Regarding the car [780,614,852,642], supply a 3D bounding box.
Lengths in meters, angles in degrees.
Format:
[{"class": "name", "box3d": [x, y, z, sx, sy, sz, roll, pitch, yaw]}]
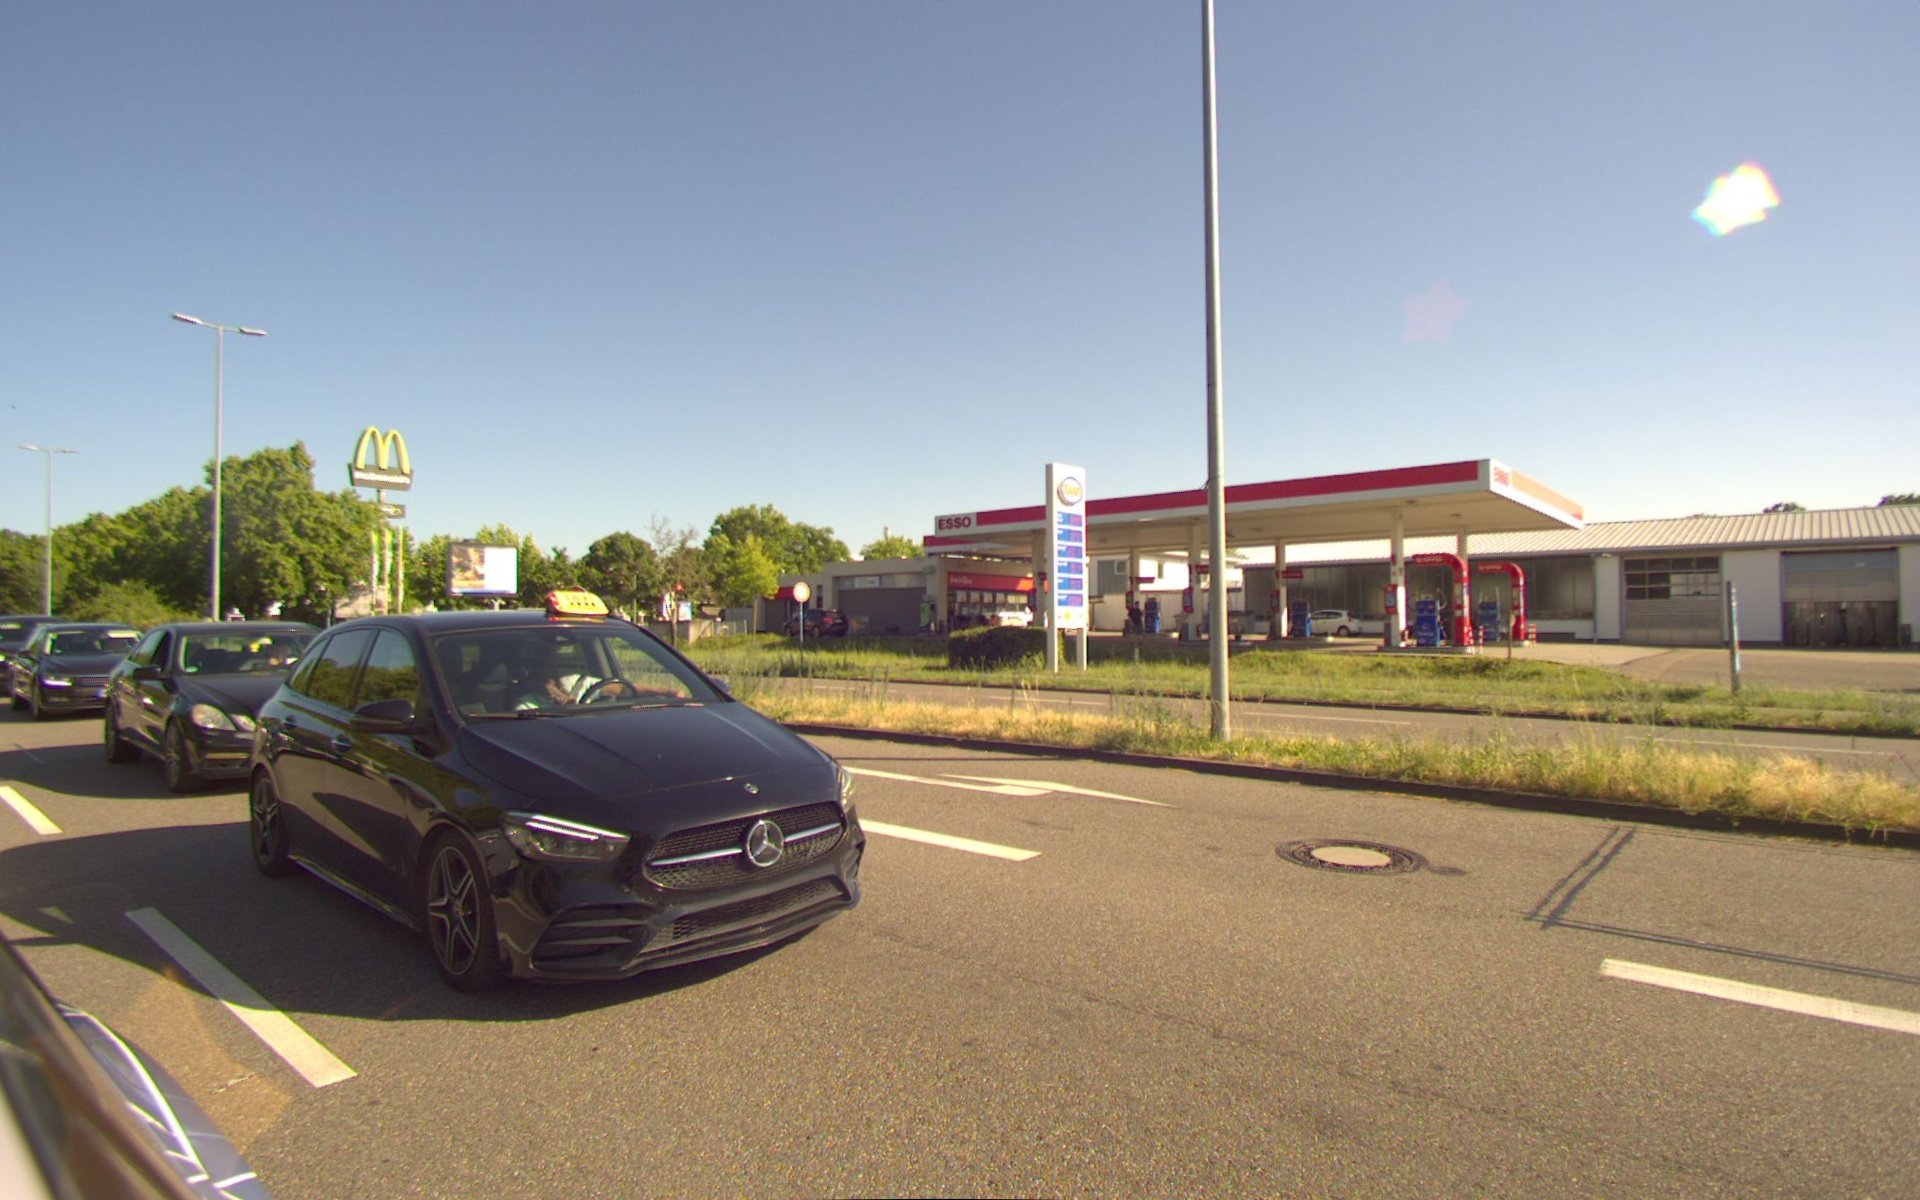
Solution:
[{"class": "car", "box3d": [-7.836, 1.526, 54.935, 3.975, 1.420, 1.661, -1, -4, 40]}]

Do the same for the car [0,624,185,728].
[{"class": "car", "box3d": [-14.458, 1.157, 16.702, 4.284, 1.438, 1.775, -1, 0, 40]}]

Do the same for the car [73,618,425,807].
[{"class": "car", "box3d": [-7.267, 0.933, 10.170, 4.400, 1.449, 1.845, -1, 0, 40]}]

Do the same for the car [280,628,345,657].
[{"class": "car", "box3d": [-33.953, 2.216, 53.049, 3.975, 1.420, 1.741, -1, -4, 40]}]

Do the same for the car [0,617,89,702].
[{"class": "car", "box3d": [-19.945, 1.216, 21.451, 3.876, 1.629, 1.653, -2, -1, 40]}]

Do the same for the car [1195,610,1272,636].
[{"class": "car", "box3d": [15.826, 1.350, 58.592, 3.975, 1.420, 1.661, -1, -4, 40]}]

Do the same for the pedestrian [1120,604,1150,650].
[{"class": "pedestrian", "box3d": [6.844, 1.059, 39.578, 0.903, 1.763, 0.781, -1, 0, 39]}]

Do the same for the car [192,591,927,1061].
[{"class": "car", "box3d": [-2.389, 0.739, 5.343, 4.400, 1.502, 1.741, -1, 0, 40]}]

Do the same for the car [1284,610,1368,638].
[{"class": "car", "box3d": [19.829, 1.299, 54.850, 3.975, 1.420, 1.661, -1, -4, 40]}]

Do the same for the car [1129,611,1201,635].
[{"class": "car", "box3d": [12.428, 1.394, 61.391, 3.975, 1.420, 1.661, -1, -4, 40]}]

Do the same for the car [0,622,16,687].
[{"class": "car", "box3d": [-25.231, 1.373, 25.548, 3.774, 1.567, 1.615, -1, -1, 40]}]
